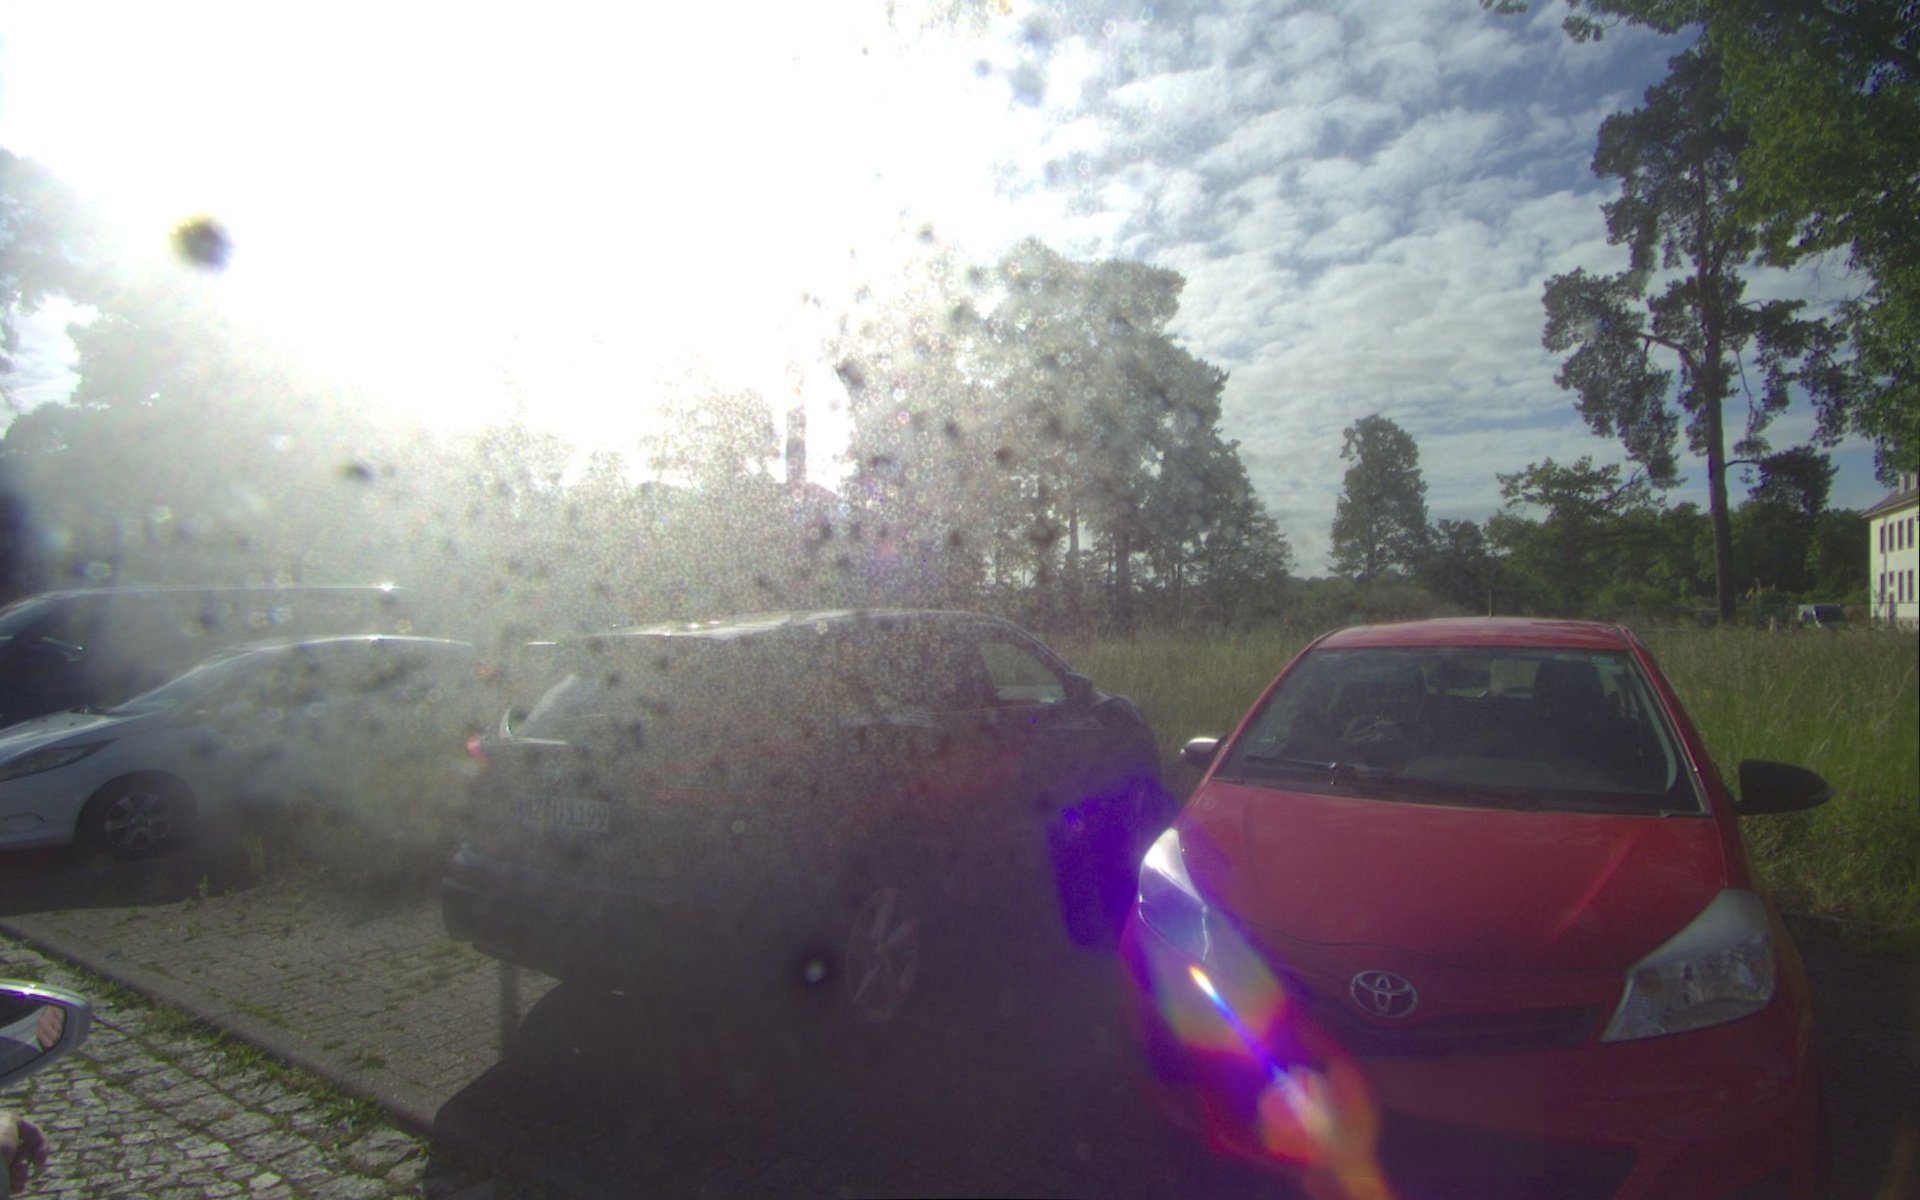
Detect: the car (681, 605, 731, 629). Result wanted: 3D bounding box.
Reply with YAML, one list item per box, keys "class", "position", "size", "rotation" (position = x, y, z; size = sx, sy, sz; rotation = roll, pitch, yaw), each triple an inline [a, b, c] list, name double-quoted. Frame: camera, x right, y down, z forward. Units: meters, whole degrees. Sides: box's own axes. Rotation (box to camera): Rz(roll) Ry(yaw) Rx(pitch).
- class: "car"
  position: [-22.136, 1.472, 87.461]
  size: [1.971, 2.040, 3.979]
  rotation: [-1, -1, 32]

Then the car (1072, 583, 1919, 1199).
- class: "car"
  position: [1.972, 0.779, 3.728]
  size: [1.622, 1.550, 3.755]
  rotation: [-1, -1, 32]

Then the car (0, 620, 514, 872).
- class: "car"
  position: [-5.802, 0.951, 8.174]
  size: [1.621, 1.508, 3.714]
  rotation: [-1, 0, 30]

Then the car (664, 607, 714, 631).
- class: "car"
  position: [-23.929, 1.654, 88.478]
  size: [1.971, 2.040, 3.979]
  rotation: [-1, -1, 32]

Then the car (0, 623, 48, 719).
- class: "car"
  position: [-16.926, 1.159, 15.783]
  size: [1.621, 1.549, 3.473]
  rotation: [-1, -1, 31]

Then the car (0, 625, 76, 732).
- class: "car"
  position: [-14.803, 1.138, 13.752]
  size: [1.621, 1.486, 3.669]
  rotation: [-1, 0, 31]

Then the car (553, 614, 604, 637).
- class: "car"
  position: [-34.321, 2.308, 90.134]
  size: [1.971, 2.040, 3.979]
  rotation: [-1, -1, 32]

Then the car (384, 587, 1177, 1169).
- class: "car"
  position: [-0.403, 0.821, 4.977]
  size: [1.746, 1.643, 3.930]
  rotation: [-1, -1, 31]

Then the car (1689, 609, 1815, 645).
- class: "car"
  position: [51.323, 1.793, 65.050]
  size: [2.338, 2.199, 5.997]
  rotation: [0, -2, -24]

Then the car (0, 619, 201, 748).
- class: "car"
  position: [-12.131, 1.052, 12.656]
  size: [1.622, 1.485, 3.685]
  rotation: [-1, 1, 33]

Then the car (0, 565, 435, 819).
- class: "car"
  position: [-7.938, 0.767, 9.739]
  size: [2.052, 2.040, 4.672]
  rotation: [-1, -1, 29]
